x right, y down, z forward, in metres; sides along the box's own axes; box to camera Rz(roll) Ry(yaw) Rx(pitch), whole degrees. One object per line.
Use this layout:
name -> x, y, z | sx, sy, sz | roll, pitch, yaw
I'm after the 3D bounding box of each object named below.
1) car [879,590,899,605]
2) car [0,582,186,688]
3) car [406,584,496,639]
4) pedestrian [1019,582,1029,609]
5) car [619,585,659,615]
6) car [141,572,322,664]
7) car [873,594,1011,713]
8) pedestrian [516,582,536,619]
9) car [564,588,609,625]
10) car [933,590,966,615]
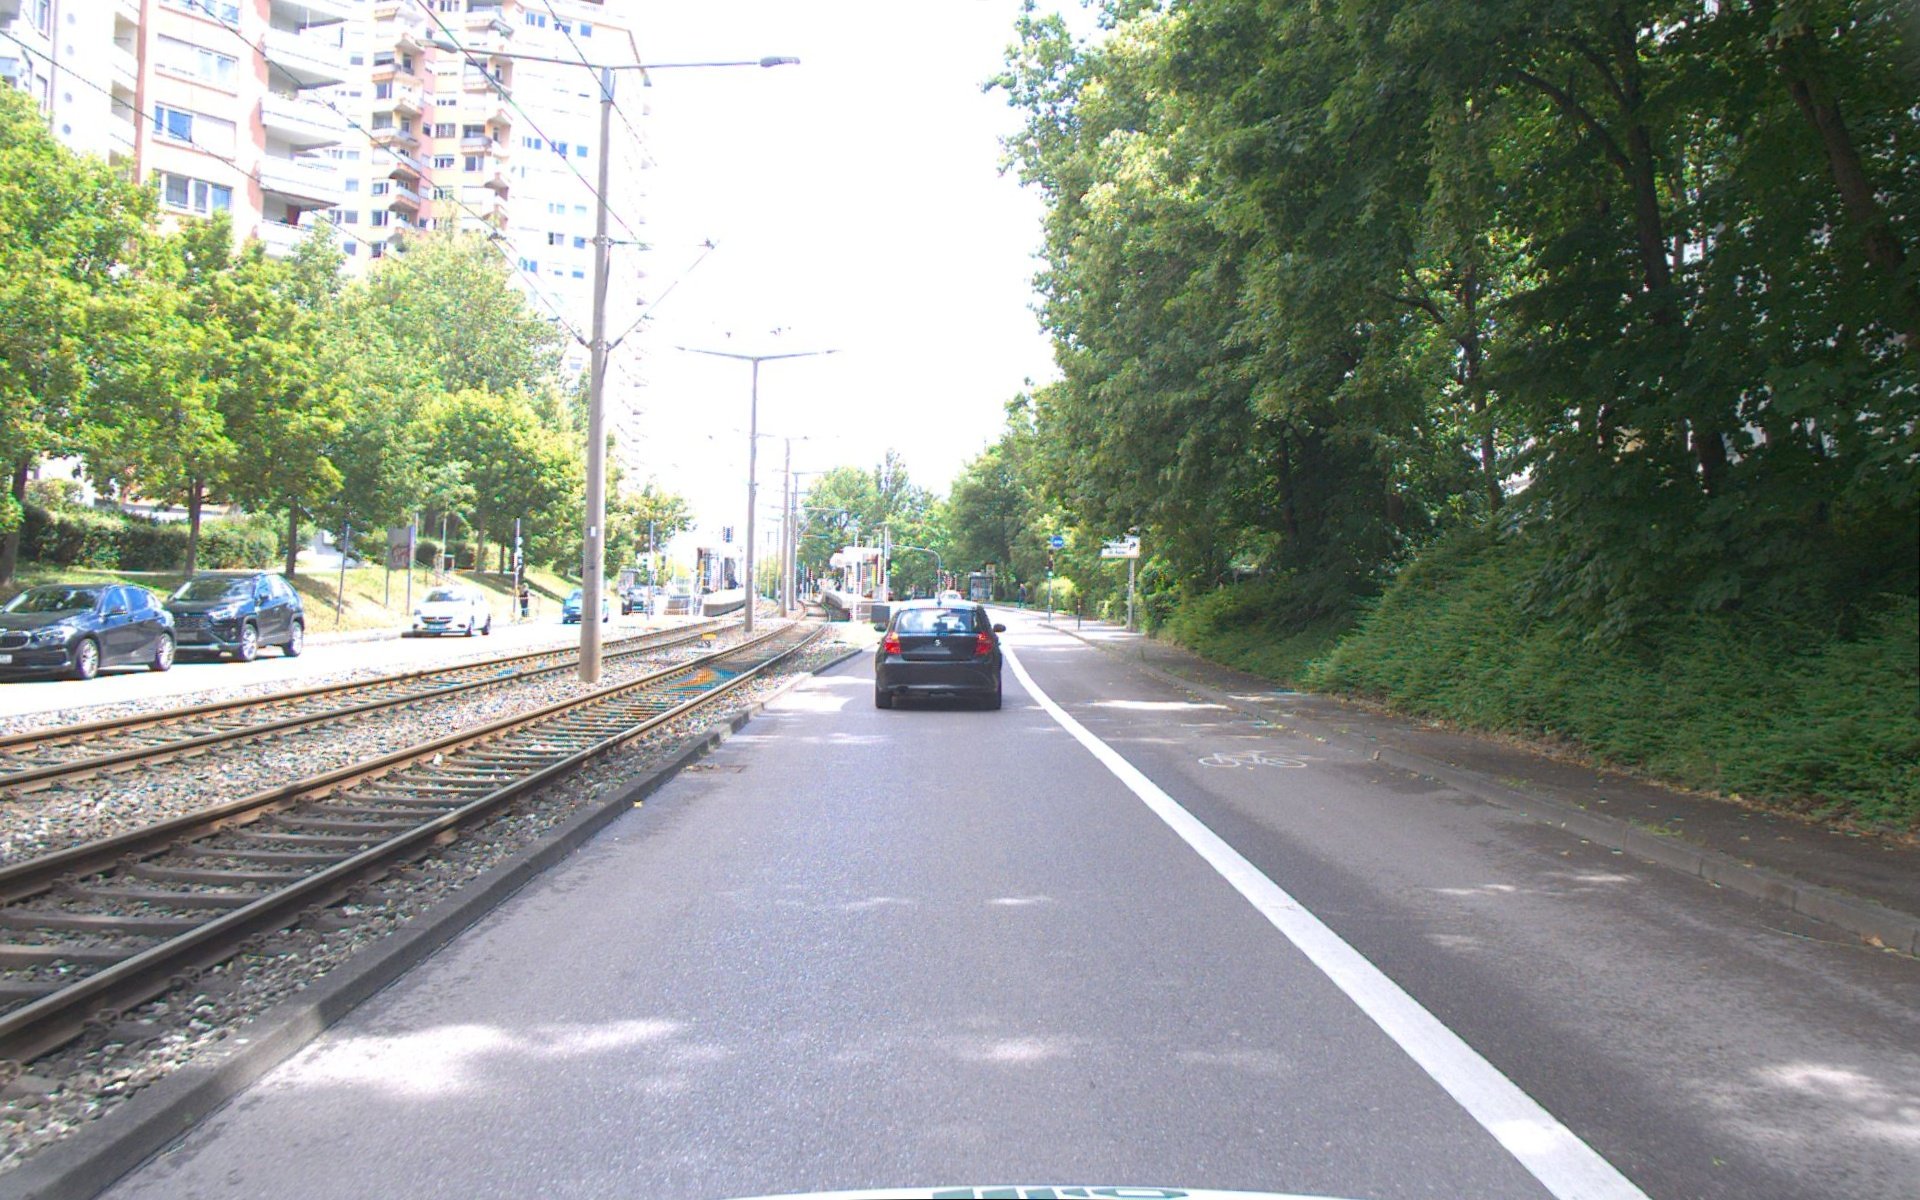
car -> -7.309, -0.248, 170.509 | 1.872, 1.485, 3.997 | 1, 0, -6
car -> -13.831, 0.488, 25.832 | 1.739, 1.524, 3.995 | 1, 0, -3
car -> -15.115, 0.317, 49.346 | 1.747, 1.559, 4.239 | 0, 0, -6
pedestrian -> 4.870, -0.352, 126.807 | 0.725, 2.049, 0.681 | 1, 0, 0
car -> -17.572, -0.009, 90.697 | 1.682, 1.591, 3.694 | 1, 0, -4
car -> -14.023, 0.344, 32.103 | 1.739, 1.658, 4.380 | 0, 0, -3
car -> -0.302, 0.672, 22.978 | 1.745, 1.485, 3.919 | 0, 0, -2
pedestrian -> -18.547, 0.004, 70.725 | 0.756, 1.561, 0.713 | 0, 0, -20
car -> -15.686, 0.254, 69.601 | 1.685, 1.467, 3.932 | 1, 0, -11
car -> -0.669, 0.127, 100.752 | 1.746, 1.485, 3.918 | 1, 0, -4
